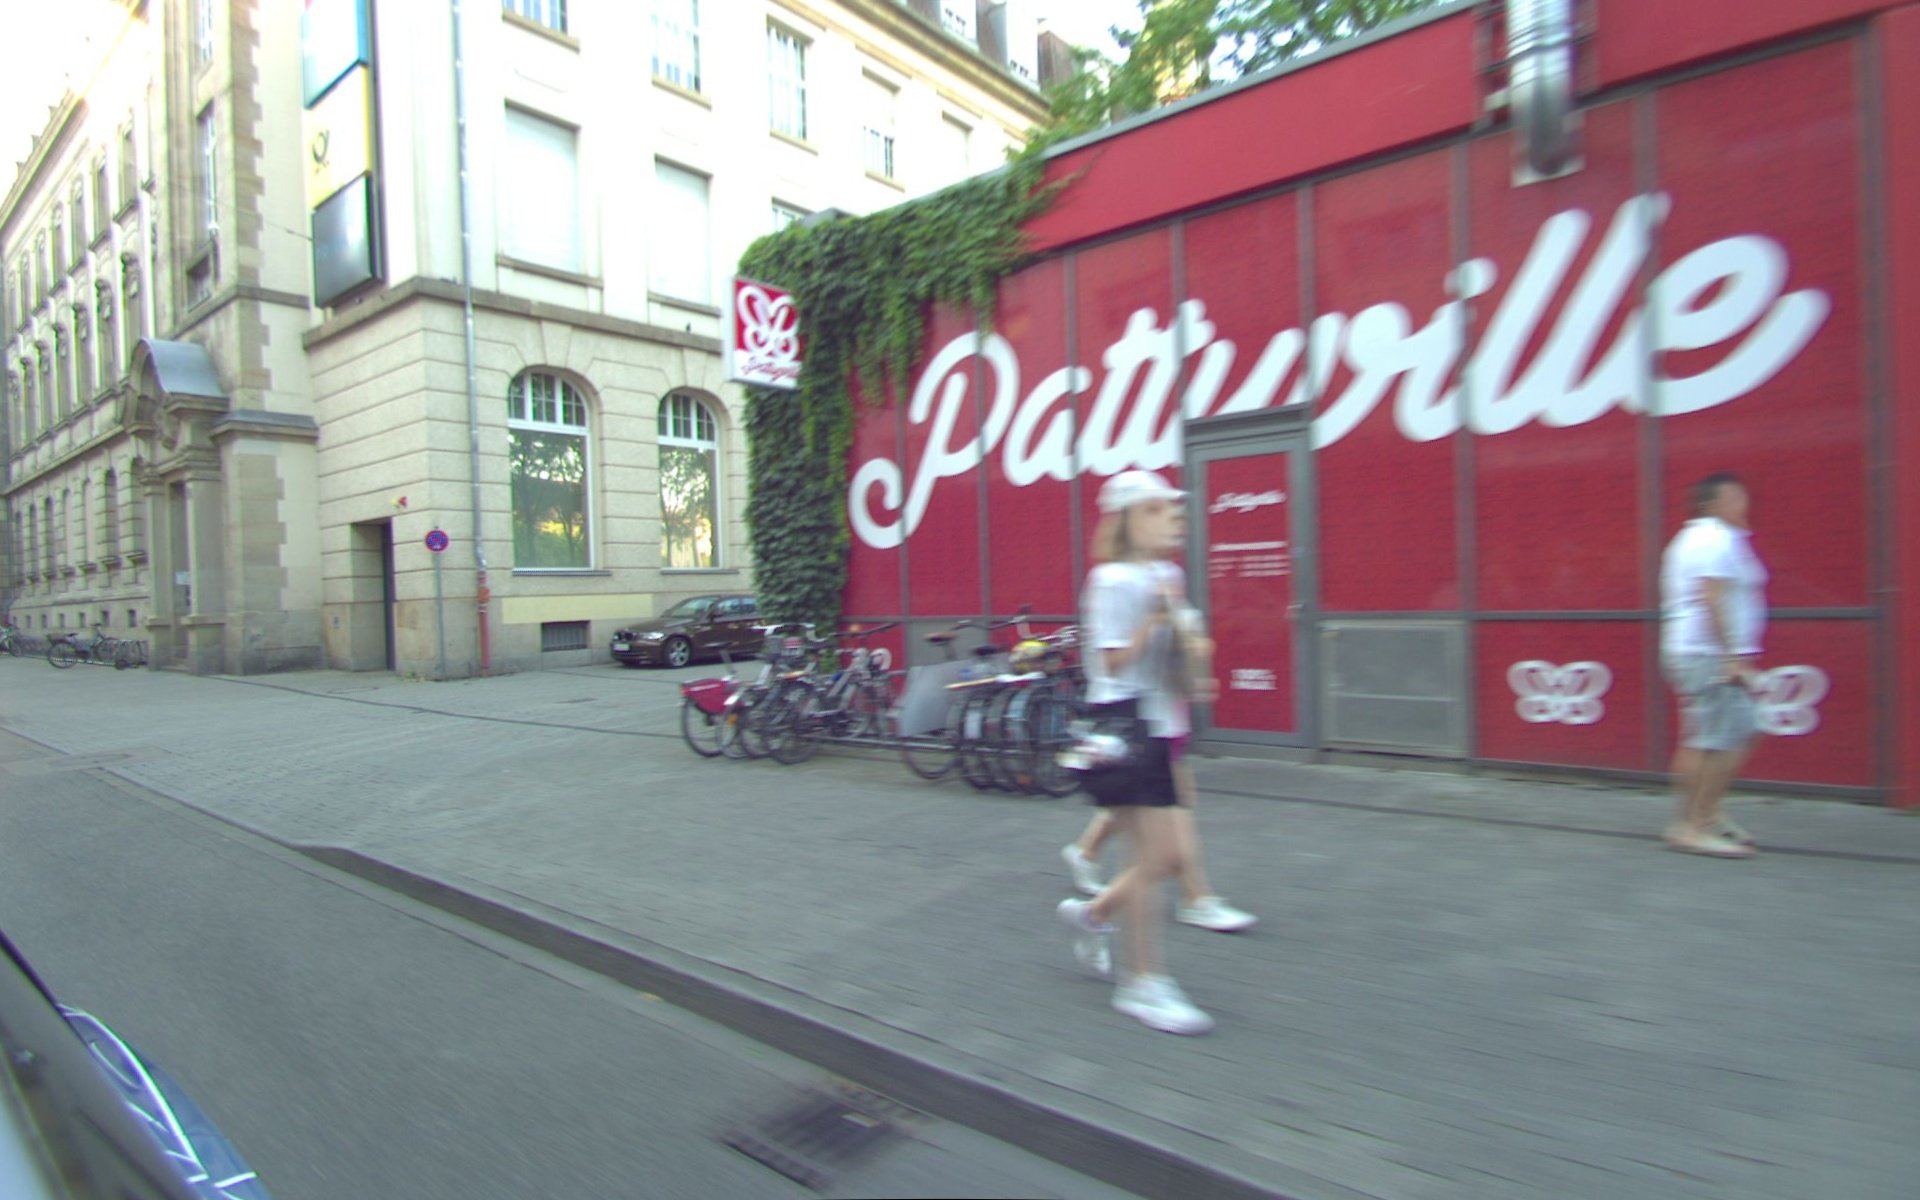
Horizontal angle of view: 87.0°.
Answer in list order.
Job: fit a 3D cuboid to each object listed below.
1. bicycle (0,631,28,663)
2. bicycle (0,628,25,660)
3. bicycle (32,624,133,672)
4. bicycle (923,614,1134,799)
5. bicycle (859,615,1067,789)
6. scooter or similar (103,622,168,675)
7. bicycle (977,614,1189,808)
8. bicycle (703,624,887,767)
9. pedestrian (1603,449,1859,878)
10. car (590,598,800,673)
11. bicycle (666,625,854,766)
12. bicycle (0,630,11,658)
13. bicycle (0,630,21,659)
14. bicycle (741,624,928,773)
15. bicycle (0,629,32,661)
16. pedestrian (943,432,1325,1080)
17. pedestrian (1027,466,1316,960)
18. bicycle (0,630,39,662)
[{"bbox_3d":[-33.924,1.675,35.339,0.619,1.069,1.919,-1,2,37],"label":"bicycle"},{"bbox_3d":[-36.022,1.672,37.598,0.499,1.116,1.780,-1,2,34],"label":"bicycle"},{"bbox_3d":[-23.771,1.291,27.459,0.616,1.069,1.928,-2,3,25],"label":"bicycle"},{"bbox_3d":[0.547,0.706,7.370,0.500,1.116,1.775,-2,1,43],"label":"bicycle"},{"bbox_3d":[0.074,0.718,7.790,0.500,1.116,1.775,-2,1,43],"label":"bicycle"},{"bbox_3d":[-20.624,1.199,25.329,0.494,1.242,1.126,-2,1,27],"label":"scooter or similar"},{"bbox_3d":[0.911,0.698,7.073,0.500,1.116,1.775,-2,1,43],"label":"bicycle"},{"bbox_3d":[-1.473,0.824,9.328,0.499,1.116,1.777,-2,0,38],"label":"bicycle"},{"bbox_3d":[3.564,0.264,4.714,0.847,1.767,0.710,-2,0,39],"label":"pedestrian"},{"bbox_3d":[-5.420,0.688,21.072,1.748,1.381,3.966,-2,-1,39],"label":"car"},{"bbox_3d":[-1.819,0.834,9.451,0.500,1.116,1.776,-2,0,39],"label":"bicycle"},{"bbox_3d":[-38.691,1.796,39.803,0.619,1.069,1.919,-1,2,38],"label":"bicycle"},{"bbox_3d":[-37.662,1.774,39.092,0.618,1.069,1.922,-1,2,34],"label":"bicycle"},{"bbox_3d":[-1.062,0.813,8.985,0.499,1.116,1.777,-2,0,38],"label":"bicycle"},{"bbox_3d":[-35.071,1.661,36.867,0.499,1.116,1.780,-1,2,34],"label":"bicycle"},{"bbox_3d":[0.556,0.429,3.313,0.984,1.763,0.642,-2,0,39],"label":"pedestrian"},{"bbox_3d":[0.874,0.399,4.164,0.846,1.762,0.745,-2,1,39],"label":"pedestrian"},{"bbox_3d":[-34.451,1.668,36.338,0.618,1.069,1.921,-1,2,34],"label":"bicycle"}]
